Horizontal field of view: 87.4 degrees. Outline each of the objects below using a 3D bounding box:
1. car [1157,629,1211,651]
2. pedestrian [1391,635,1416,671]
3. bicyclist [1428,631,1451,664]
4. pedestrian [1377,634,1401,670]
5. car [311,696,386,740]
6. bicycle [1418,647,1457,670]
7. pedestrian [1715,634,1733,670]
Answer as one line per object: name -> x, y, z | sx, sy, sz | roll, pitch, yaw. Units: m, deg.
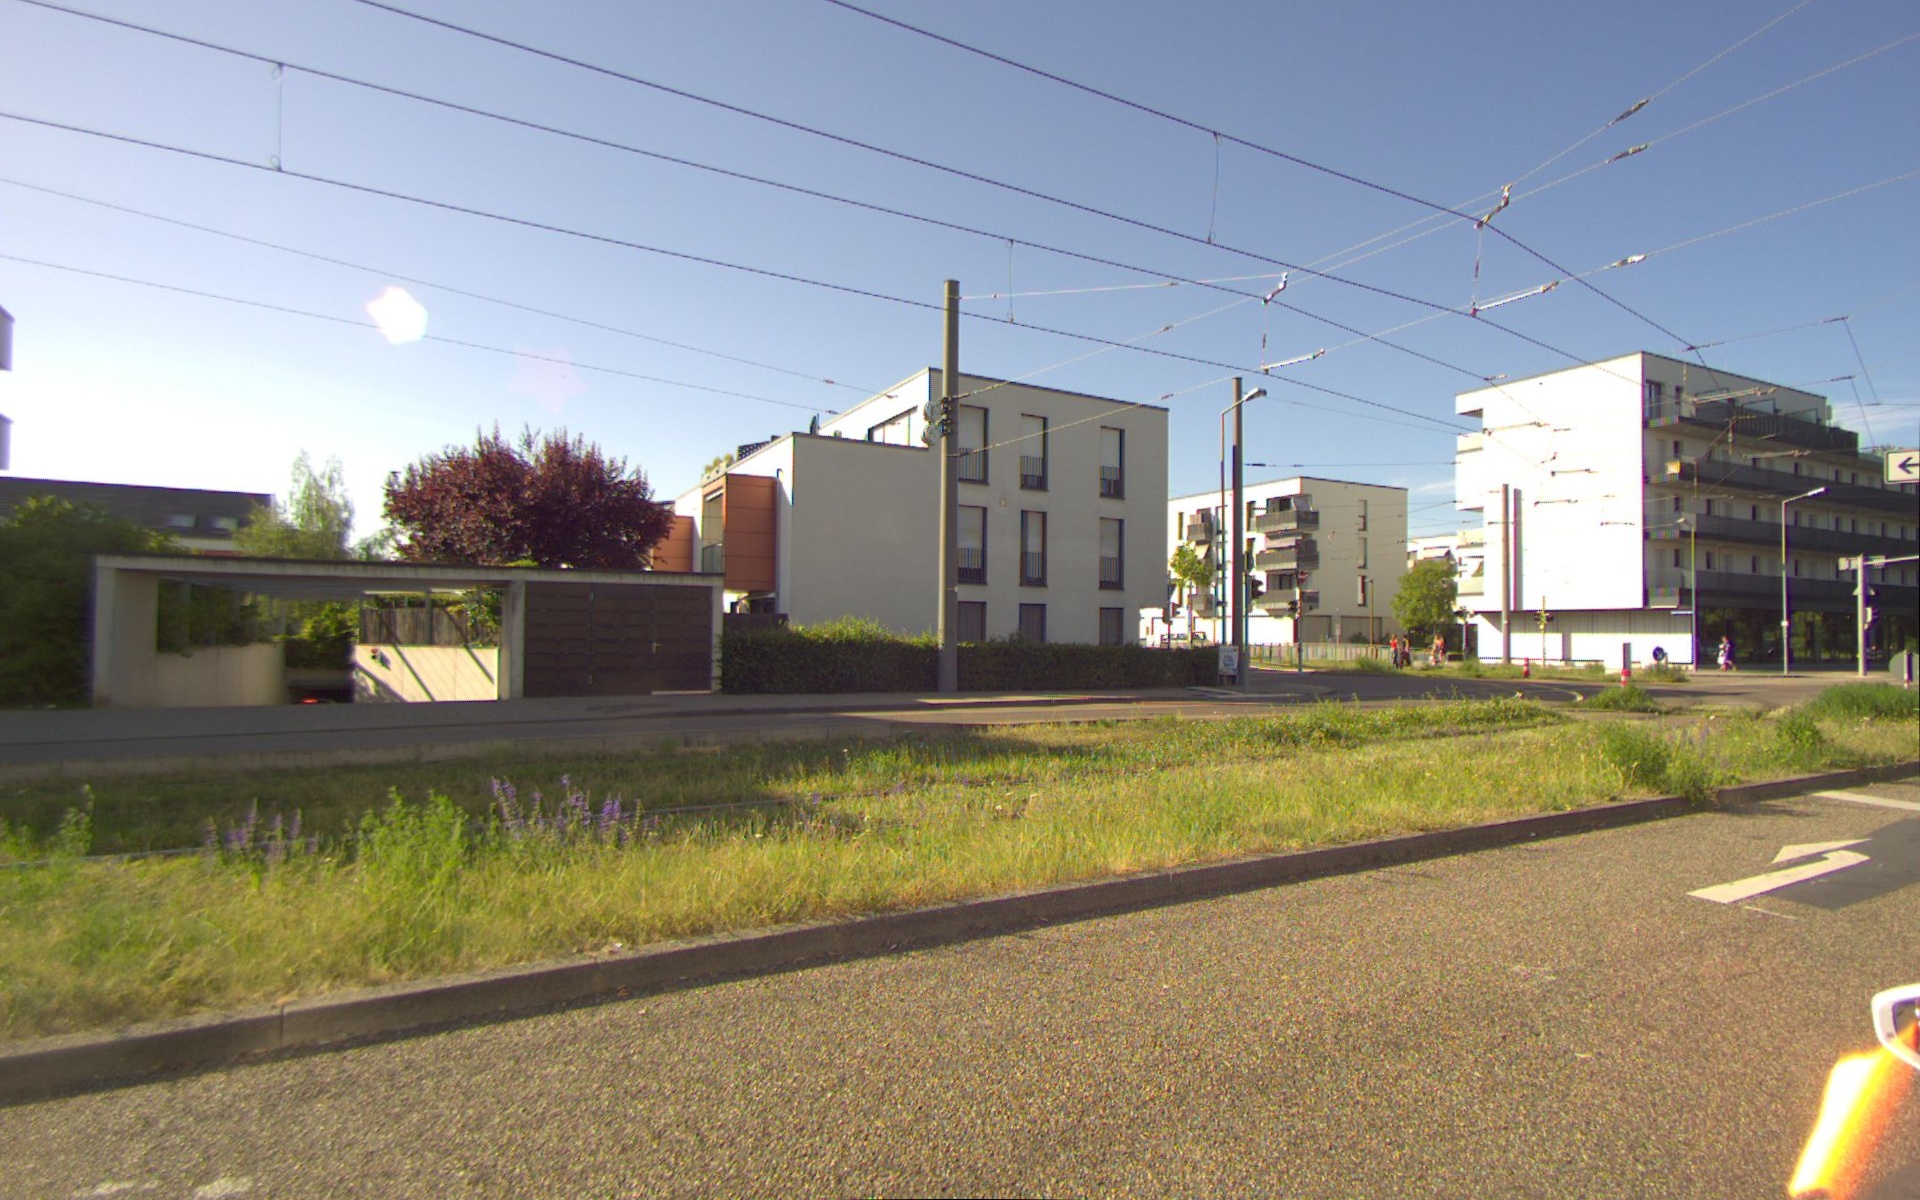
car -> 17.850, 3.179, 80.216 | 1.974, 1.595, 4.309 | 2, 0, -27
pedestrian -> 20.661, 2.452, 46.791 | 0.736, 1.626, 0.765 | 2, 0, -36
bicyclist -> 24.383, 2.435, 51.107 | 0.633, 1.635, 0.779 | 2, 0, -28
pedestrian -> 20.278, 2.444, 47.467 | 0.736, 1.626, 0.765 | 2, 0, -36
car -> -20.588, 3.977, 33.948 | 1.554, 1.344, 3.981 | 0, -6, -23
bicycle -> 24.285, 2.971, 51.064 | 1.838, 1.139, 0.816 | 2, 0, -28
pedestrian -> 38.748, 2.633, 50.935 | 0.513, 1.767, 0.539 | 2, 0, -35
